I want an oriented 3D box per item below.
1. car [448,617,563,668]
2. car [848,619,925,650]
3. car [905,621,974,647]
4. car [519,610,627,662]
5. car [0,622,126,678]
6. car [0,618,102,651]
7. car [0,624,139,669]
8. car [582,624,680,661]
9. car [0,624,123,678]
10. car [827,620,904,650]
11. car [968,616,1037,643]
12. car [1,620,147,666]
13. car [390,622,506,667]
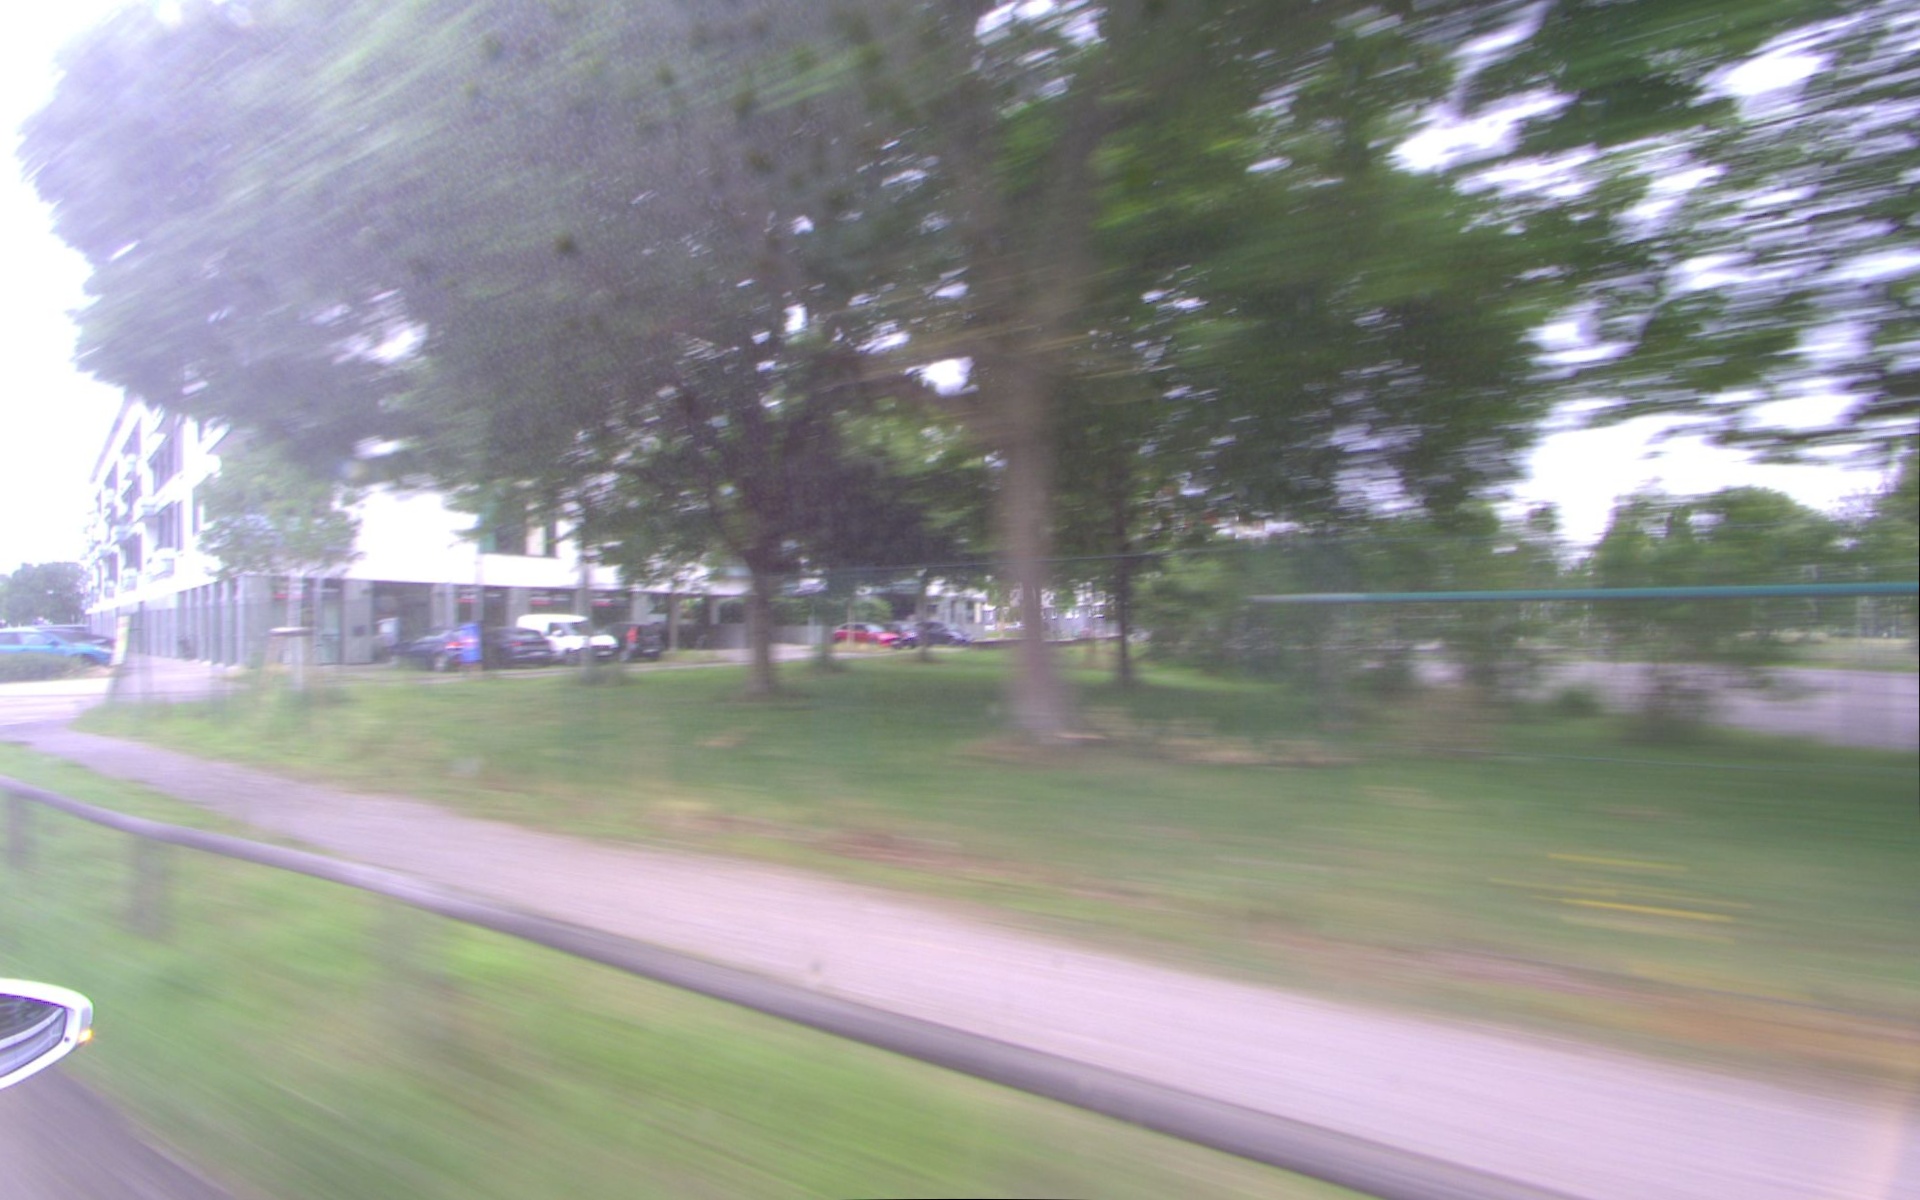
[{"bbox_3d":[-16.221,1.496,35.708,3.898,1.721,1.851,-1,-2,31],"label":"car"},{"bbox_3d":[-4.261,1.992,57.956,4.125,1.772,1.872,-1,-2,32],"label":"car"},{"bbox_3d":[-1.248,2.061,61.248,3.937,1.561,1.785,-1,-2,32],"label":"car"},{"bbox_3d":[-14.627,1.347,37.813,3.943,1.854,1.794,-1,-2,32],"label":"car"},{"bbox_3d":[-28.400,1.490,30.240,4.831,1.636,1.824,3,-2,-44],"label":"car"},{"bbox_3d":[-49.900,1.888,54.852,1.980,1.742,4.301,-1,-2,45],"label":"car"},{"bbox_3d":[-32.995,1.672,36.315,4.831,1.519,1.824,3,-2,-44],"label":"car"},{"bbox_3d":[-13.334,1.694,40.559,3.717,1.449,1.821,-1,-2,31],"label":"car"},{"bbox_3d":[-30.091,1.612,32.121,4.831,1.684,1.824,3,-2,-44],"label":"car"},{"bbox_3d":[-5.197,1.930,55.041,3.940,1.594,1.745,-1,-1,30],"label":"car"},{"bbox_3d":[2.870,2.014,67.770,4.196,1.758,2.000,-1,-2,32],"label":"car"},{"bbox_3d":[-35.631,1.704,40.359,1.980,1.742,4.301,-1,-2,45],"label":"car"},{"bbox_3d":[-17.238,1.471,33.689,3.717,1.449,1.821,-1,-2,31],"label":"car"}]
